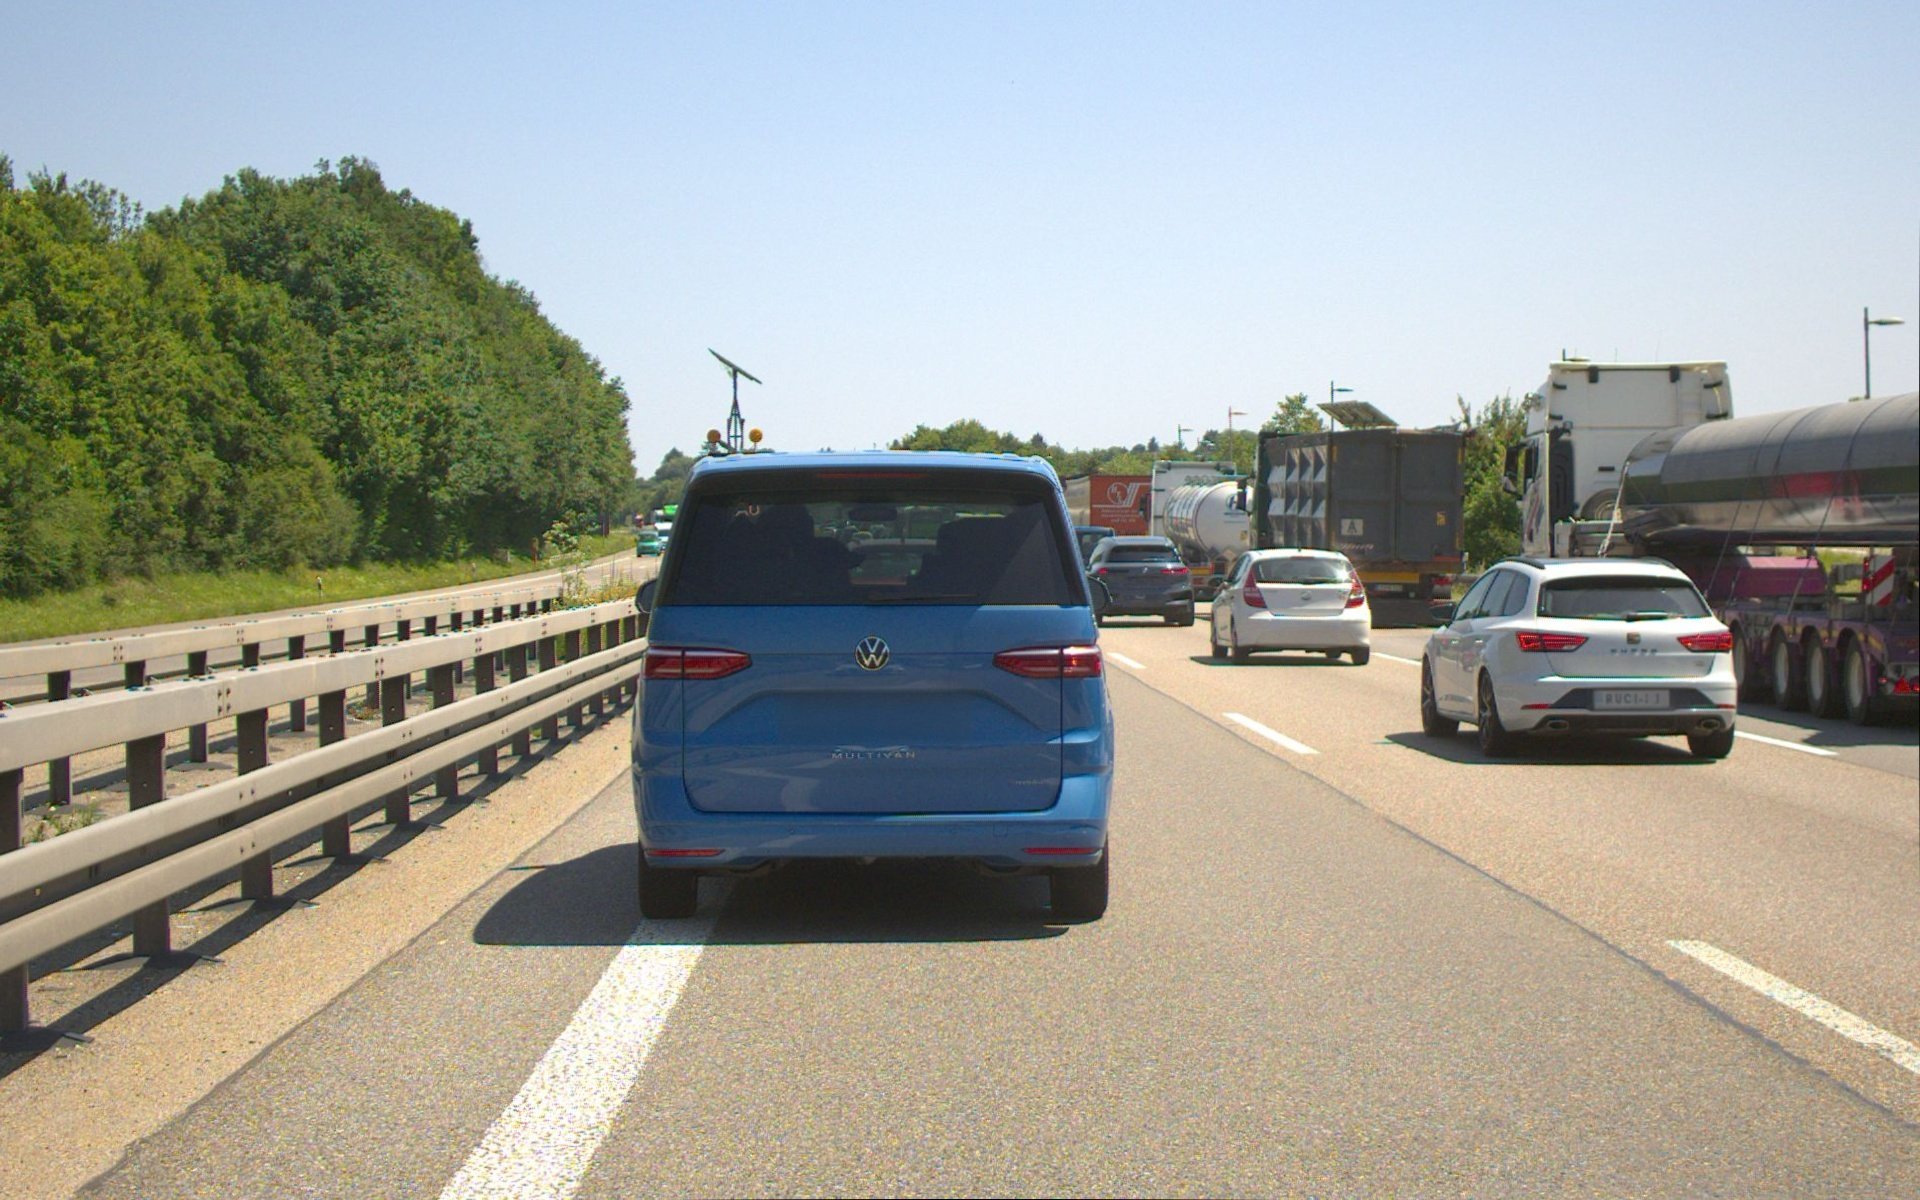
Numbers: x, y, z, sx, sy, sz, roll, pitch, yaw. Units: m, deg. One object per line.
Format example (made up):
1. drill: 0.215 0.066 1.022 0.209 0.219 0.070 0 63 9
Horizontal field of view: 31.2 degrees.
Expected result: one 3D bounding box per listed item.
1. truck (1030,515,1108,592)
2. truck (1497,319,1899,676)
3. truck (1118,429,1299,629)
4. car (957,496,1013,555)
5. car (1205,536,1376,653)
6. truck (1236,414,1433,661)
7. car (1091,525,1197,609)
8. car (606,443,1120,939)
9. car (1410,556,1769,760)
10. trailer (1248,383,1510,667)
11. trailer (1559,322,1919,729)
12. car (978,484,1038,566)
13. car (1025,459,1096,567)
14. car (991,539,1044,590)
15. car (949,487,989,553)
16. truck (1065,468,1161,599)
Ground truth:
1. truck: 2.697 -1.137 85.483 1.725 1.851 4.000 1 0 -1
2. truck: 9.111 -1.204 43.501 3.626 4.080 7.523 1 0 2
3. truck: 6.872 -1.893 97.852 3.621 5.195 15.690 1 0 -1
4. car: 1.202 -3.589 166.527 2.550 2.708 5.621 1 0 -1
5. car: 4.299 -0.076 45.212 1.840 1.449 4.000 1 0 0
6. truck: 8.135 -1.327 75.469 3.658 5.162 5.708 1 0 0
7. car: 3.460 -0.621 65.298 1.781 1.519 4.000 1 0 0
8. car: -0.342 0.333 14.886 1.901 1.831 4.000 1 0 1
9. car: 4.563 0.371 25.491 1.867 1.356 4.000 1 1 -1
10. trailer: 8.156 -1.389 69.002 3.646 5.119 13.075 1 0 0
11. trailer: 8.924 -0.570 33.810 3.646 3.068 15.771 1 0 1
12. car: 3.131 -4.867 225.945 3.218 5.239 8.145 1 0 -4
13. car: 5.058 -4.349 174.678 3.218 5.239 8.144 1 0 0
14. car: 2.302 -1.412 138.243 1.993 2.007 4.000 1 0 -1
15. car: 0.618 -5.923 256.442 2.716 4.697 11.561 1 0 -1
16. truck: 5.967 -2.546 135.420 3.068 4.903 10.691 1 0 -1
